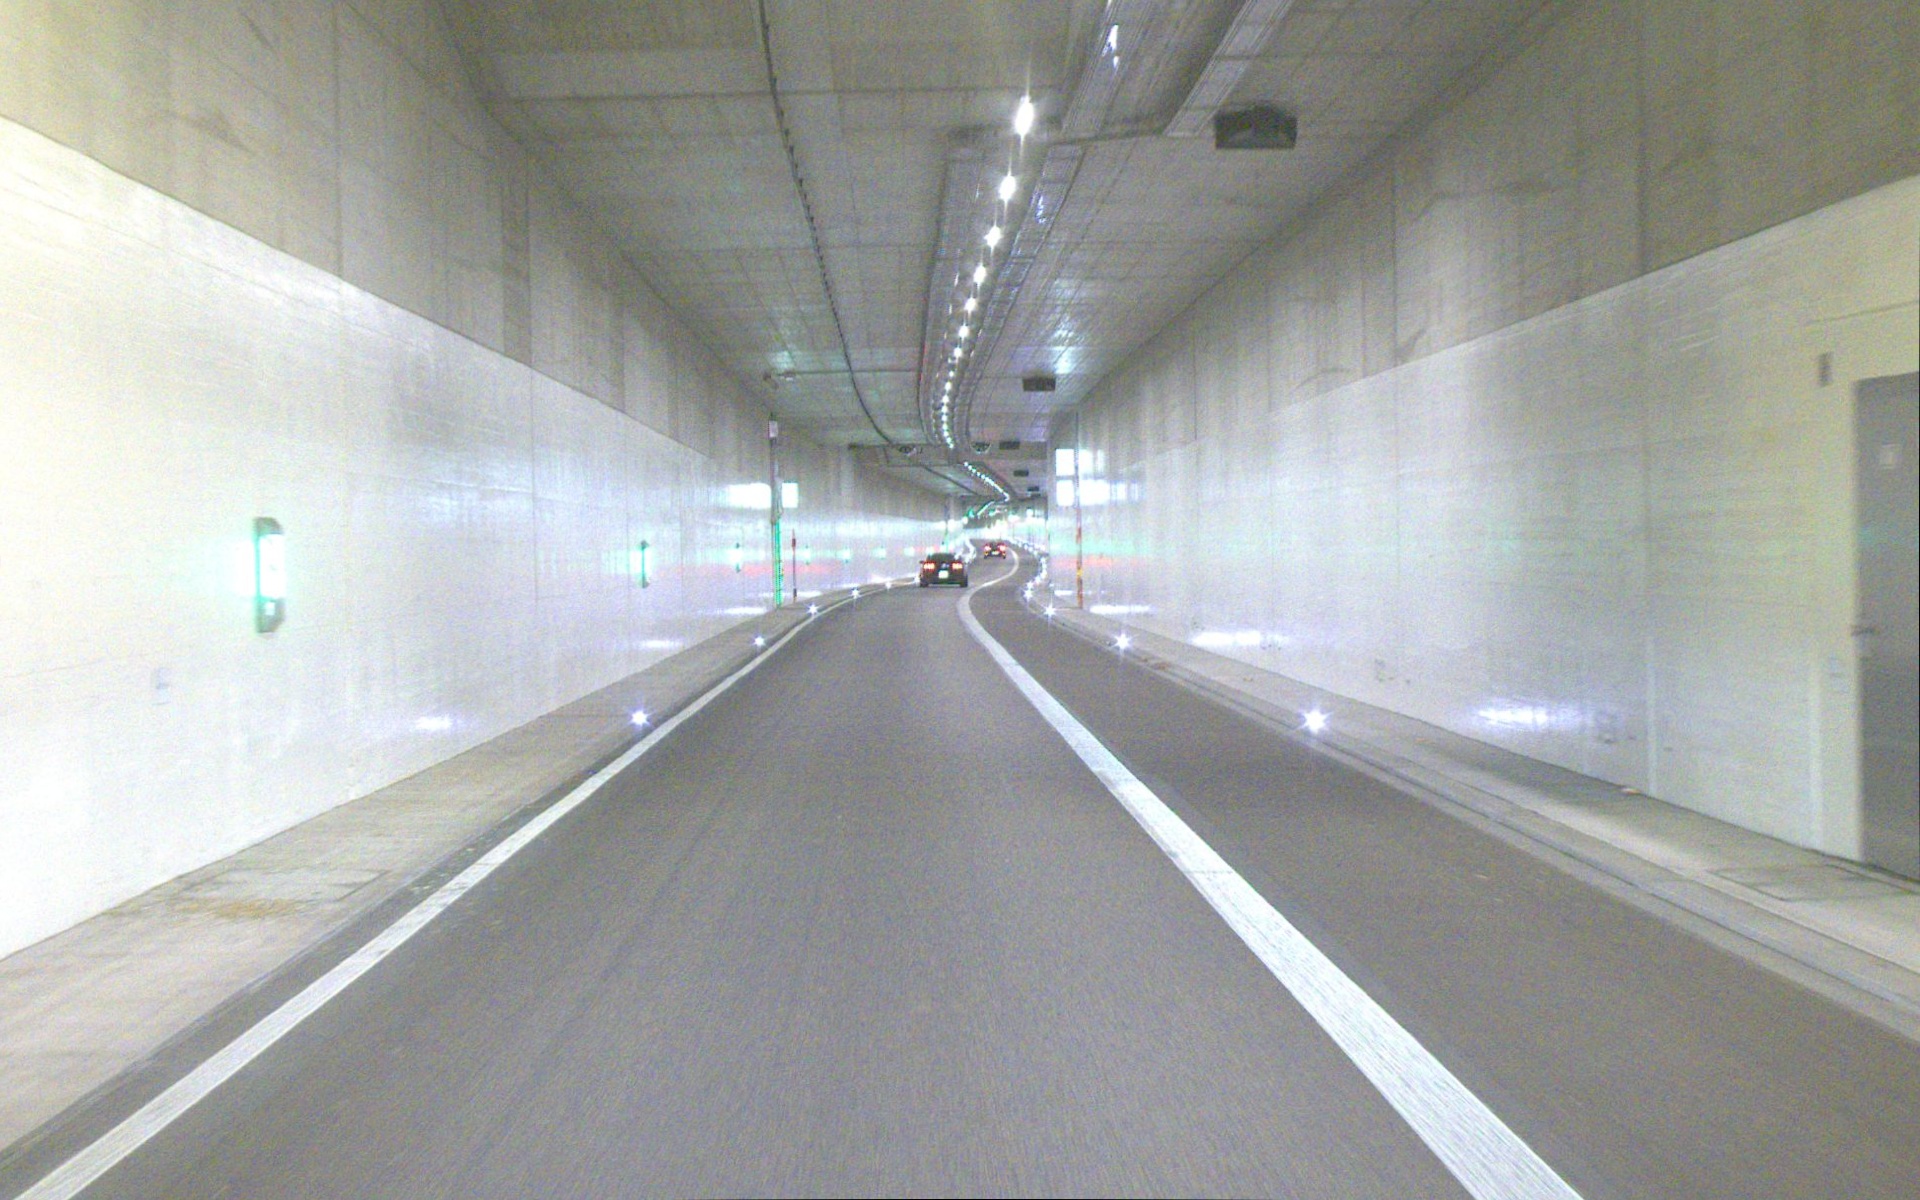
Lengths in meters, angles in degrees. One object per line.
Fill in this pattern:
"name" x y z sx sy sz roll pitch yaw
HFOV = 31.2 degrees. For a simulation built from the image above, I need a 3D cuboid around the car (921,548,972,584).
"car" -0.555 -1.366 137.491 1.993 1.415 4.000 1 1 -1
